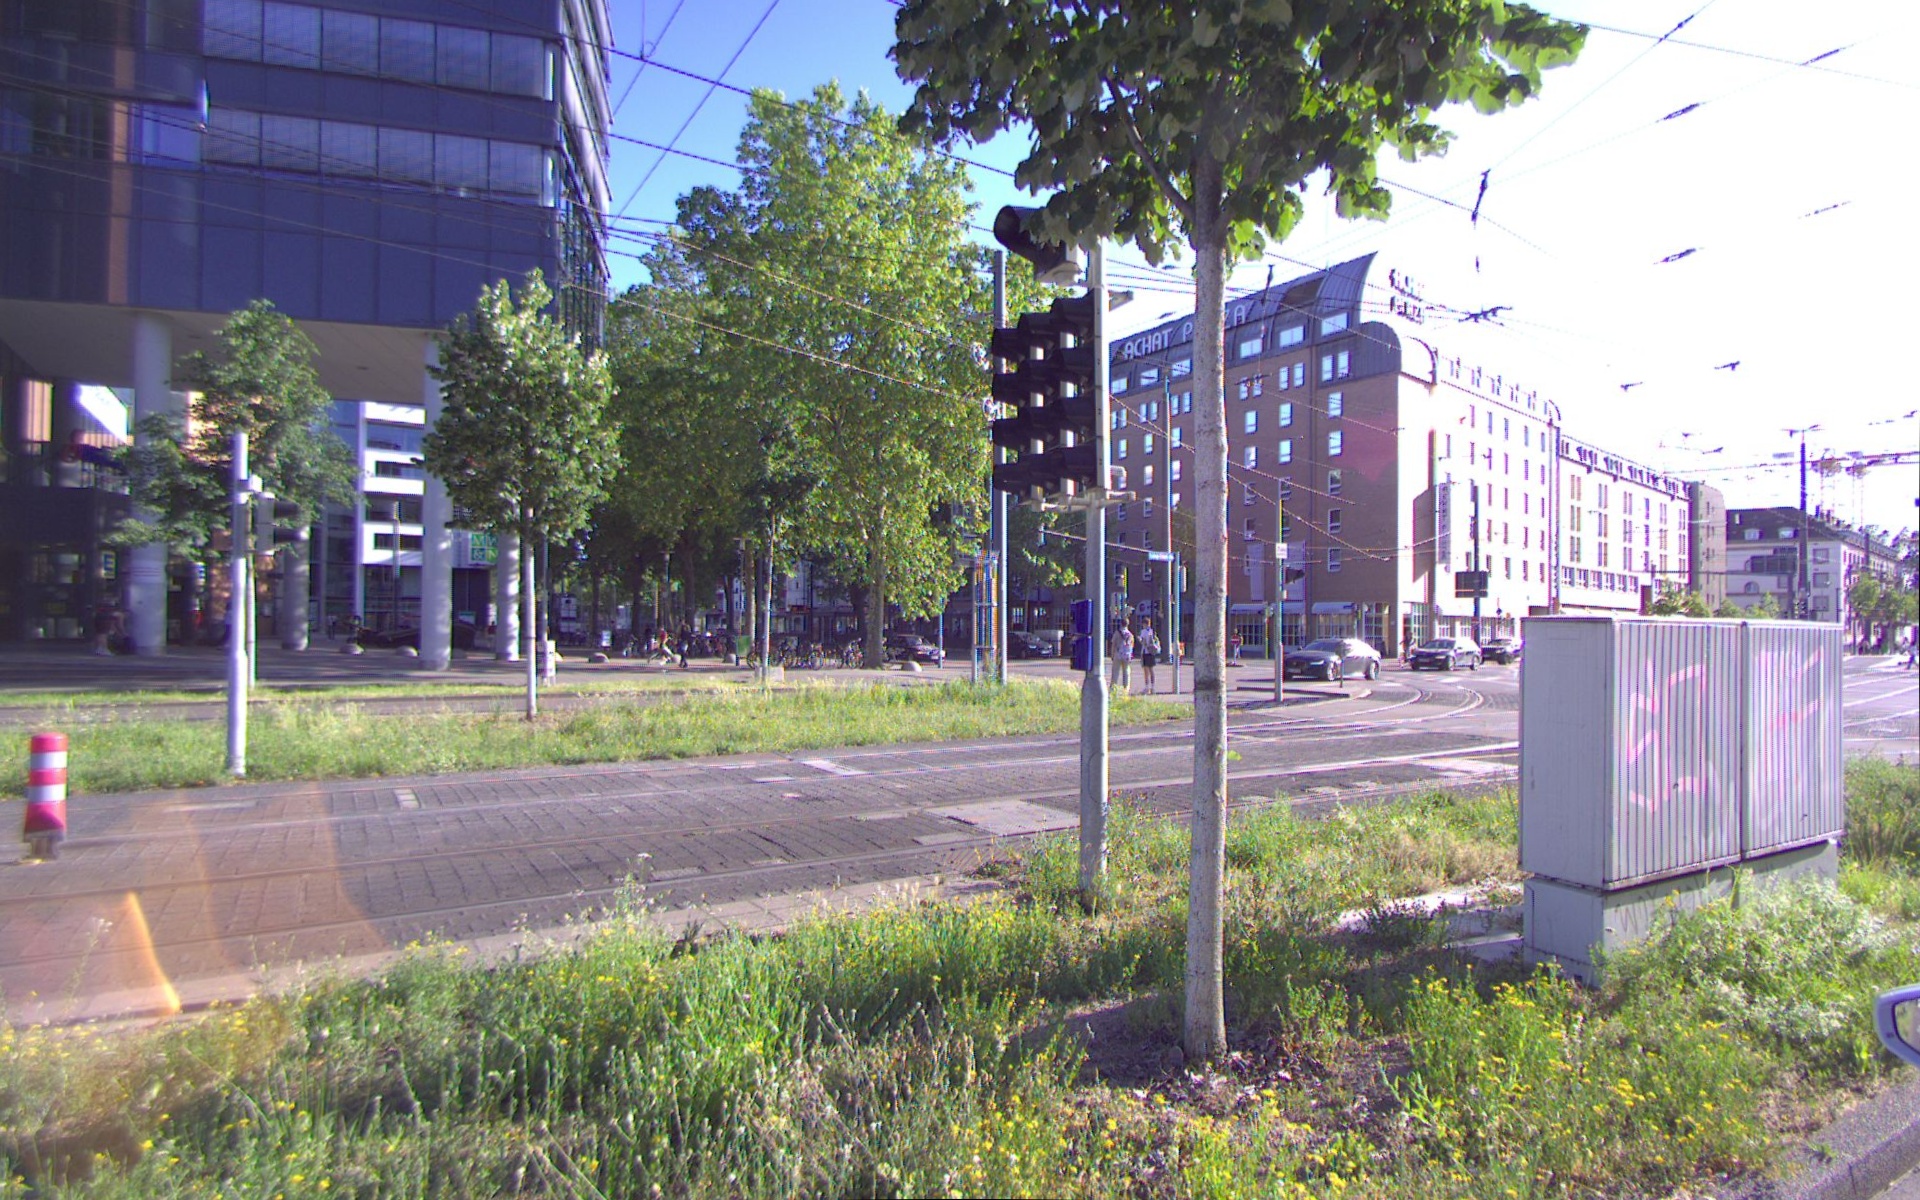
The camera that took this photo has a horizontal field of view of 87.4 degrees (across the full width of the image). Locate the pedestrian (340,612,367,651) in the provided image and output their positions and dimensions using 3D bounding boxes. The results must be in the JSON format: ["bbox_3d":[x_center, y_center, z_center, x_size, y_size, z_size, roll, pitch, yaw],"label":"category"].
[{"bbox_3d":[-27.549,1.444,45.612,0.794,1.730,0.789,1,0,-13],"label":"pedestrian"}]

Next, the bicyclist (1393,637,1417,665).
[{"bbox_3d":[22.537,2.592,50.912,0.942,1.393,0.752,2,-1,-37],"label":"bicyclist"}]

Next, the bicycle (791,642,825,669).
[{"bbox_3d":[-5.801,2.107,38.284,0.536,0.964,1.753,2,-2,-36],"label":"bicycle"}]

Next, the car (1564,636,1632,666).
[{"bbox_3d":[32.930,2.609,51.833,3.960,1.468,1.563,2,-2,-35],"label":"car"}]

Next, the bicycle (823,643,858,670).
[{"bbox_3d":[-4.503,2.113,37.839,0.536,0.964,1.753,2,-2,-36],"label":"bicycle"}]

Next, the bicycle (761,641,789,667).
[{"bbox_3d":[-7.055,2.054,38.406,0.530,0.964,1.772,1,-1,7],"label":"bicycle"}]

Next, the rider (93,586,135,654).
[{"bbox_3d":[-23.028,0.549,27.344,0.704,1.826,0.715,1,-1,-29],"label":"rider"}]

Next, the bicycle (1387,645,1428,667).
[{"bbox_3d":[22.734,2.823,50.984,2.900,1.099,0.645,2,-2,-38],"label":"bicycle"}]

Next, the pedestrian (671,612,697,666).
[{"bbox_3d":[-10.632,1.507,38.732,0.826,2.040,0.730,1,0,-25],"label":"pedestrian"}]

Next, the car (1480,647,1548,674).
[{"bbox_3d":[34.385,3.730,62.328,3.947,1.570,1.749,1,-2,-26],"label":"car"}]

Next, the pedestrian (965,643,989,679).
[{"bbox_3d":[0.770,2.785,45.843,0.832,1.619,0.692,1,0,-33],"label":"pedestrian"}]

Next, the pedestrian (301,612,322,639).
[{"bbox_3d":[-37.224,1.475,57.666,0.647,1.500,1.053,1,0,-13],"label":"pedestrian"}]

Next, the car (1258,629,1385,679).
[{"bbox_3d":[12.606,1.895,34.929,4.697,1.617,1.978,3,-3,-38],"label":"car"}]

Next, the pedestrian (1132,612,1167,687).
[{"bbox_3d":[4.750,1.230,25.121,0.656,1.841,0.559,1,-1,-36],"label":"pedestrian"}]

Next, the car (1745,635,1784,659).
[{"bbox_3d":[53.368,3.106,66.622,1.726,1.524,3.858,-1,-2,43],"label":"car"}]

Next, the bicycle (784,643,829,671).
[{"bbox_3d":[-5.655,2.102,36.990,1.742,0.964,0.540,0,-1,34],"label":"bicycle"}]

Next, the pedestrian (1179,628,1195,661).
[{"bbox_3d":[14.217,2.794,62.931,0.669,2.040,0.663,1,-1,-29],"label":"pedestrian"}]

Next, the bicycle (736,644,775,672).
[{"bbox_3d":[-7.506,2.107,36.894,0.538,0.964,1.748,2,-2,-44],"label":"bicycle"}]

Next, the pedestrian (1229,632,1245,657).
[{"bbox_3d":[17.042,2.744,61.718,0.652,1.523,0.672,1,-1,-33],"label":"pedestrian"}]

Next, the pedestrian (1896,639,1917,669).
[{"bbox_3d":[53.722,3.075,57.000,0.738,1.662,0.759,2,-1,-39],"label":"pedestrian"}]

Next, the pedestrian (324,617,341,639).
[{"bbox_3d":[-36.658,1.633,58.710,0.651,1.294,0.636,1,0,-13],"label":"pedestrian"}]

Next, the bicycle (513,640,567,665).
[{"bbox_3d":[-15.748,1.953,37.679,0.492,0.922,1.881,0,-2,37],"label":"bicycle"}]

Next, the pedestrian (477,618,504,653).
[{"bbox_3d":[-24.088,1.815,51.544,1.091,1.730,0.789,1,0,-13],"label":"pedestrian"}]

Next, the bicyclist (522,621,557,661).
[{"bbox_3d":[-15.776,1.525,37.670,0.669,1.484,1.013,0,-2,37],"label":"bicyclist"}]

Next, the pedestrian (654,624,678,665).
[{"bbox_3d":[-12.130,1.827,41.383,0.826,1.619,0.730,1,0,-25],"label":"pedestrian"}]

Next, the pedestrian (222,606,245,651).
[{"bbox_3d":[-24.460,0.958,33.823,0.566,1.500,0.450,1,0,-30],"label":"pedestrian"}]

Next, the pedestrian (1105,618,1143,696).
[{"bbox_3d":[4.004,1.379,24.566,0.656,1.854,0.627,1,-1,-36],"label":"pedestrian"}]

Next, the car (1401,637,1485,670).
[{"bbox_3d":[22.138,2.446,46.006,4.104,1.440,1.711,2,-4,-36],"label":"car"}]

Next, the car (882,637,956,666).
[{"bbox_3d":[-2.034,2.480,49.031,1.977,1.283,3.968,1,-2,-30],"label":"car"}]

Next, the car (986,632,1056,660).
[{"bbox_3d":[3.332,2.519,55.154,1.743,1.439,3.960,2,-2,-35],"label":"car"}]

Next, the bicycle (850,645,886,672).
[{"bbox_3d":[-3.508,2.192,38.076,0.536,0.964,1.753,2,-2,-36],"label":"bicycle"}]

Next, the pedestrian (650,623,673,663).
[{"bbox_3d":[-12.678,1.817,42.652,0.826,1.667,0.730,1,-1,-25],"label":"pedestrian"}]
